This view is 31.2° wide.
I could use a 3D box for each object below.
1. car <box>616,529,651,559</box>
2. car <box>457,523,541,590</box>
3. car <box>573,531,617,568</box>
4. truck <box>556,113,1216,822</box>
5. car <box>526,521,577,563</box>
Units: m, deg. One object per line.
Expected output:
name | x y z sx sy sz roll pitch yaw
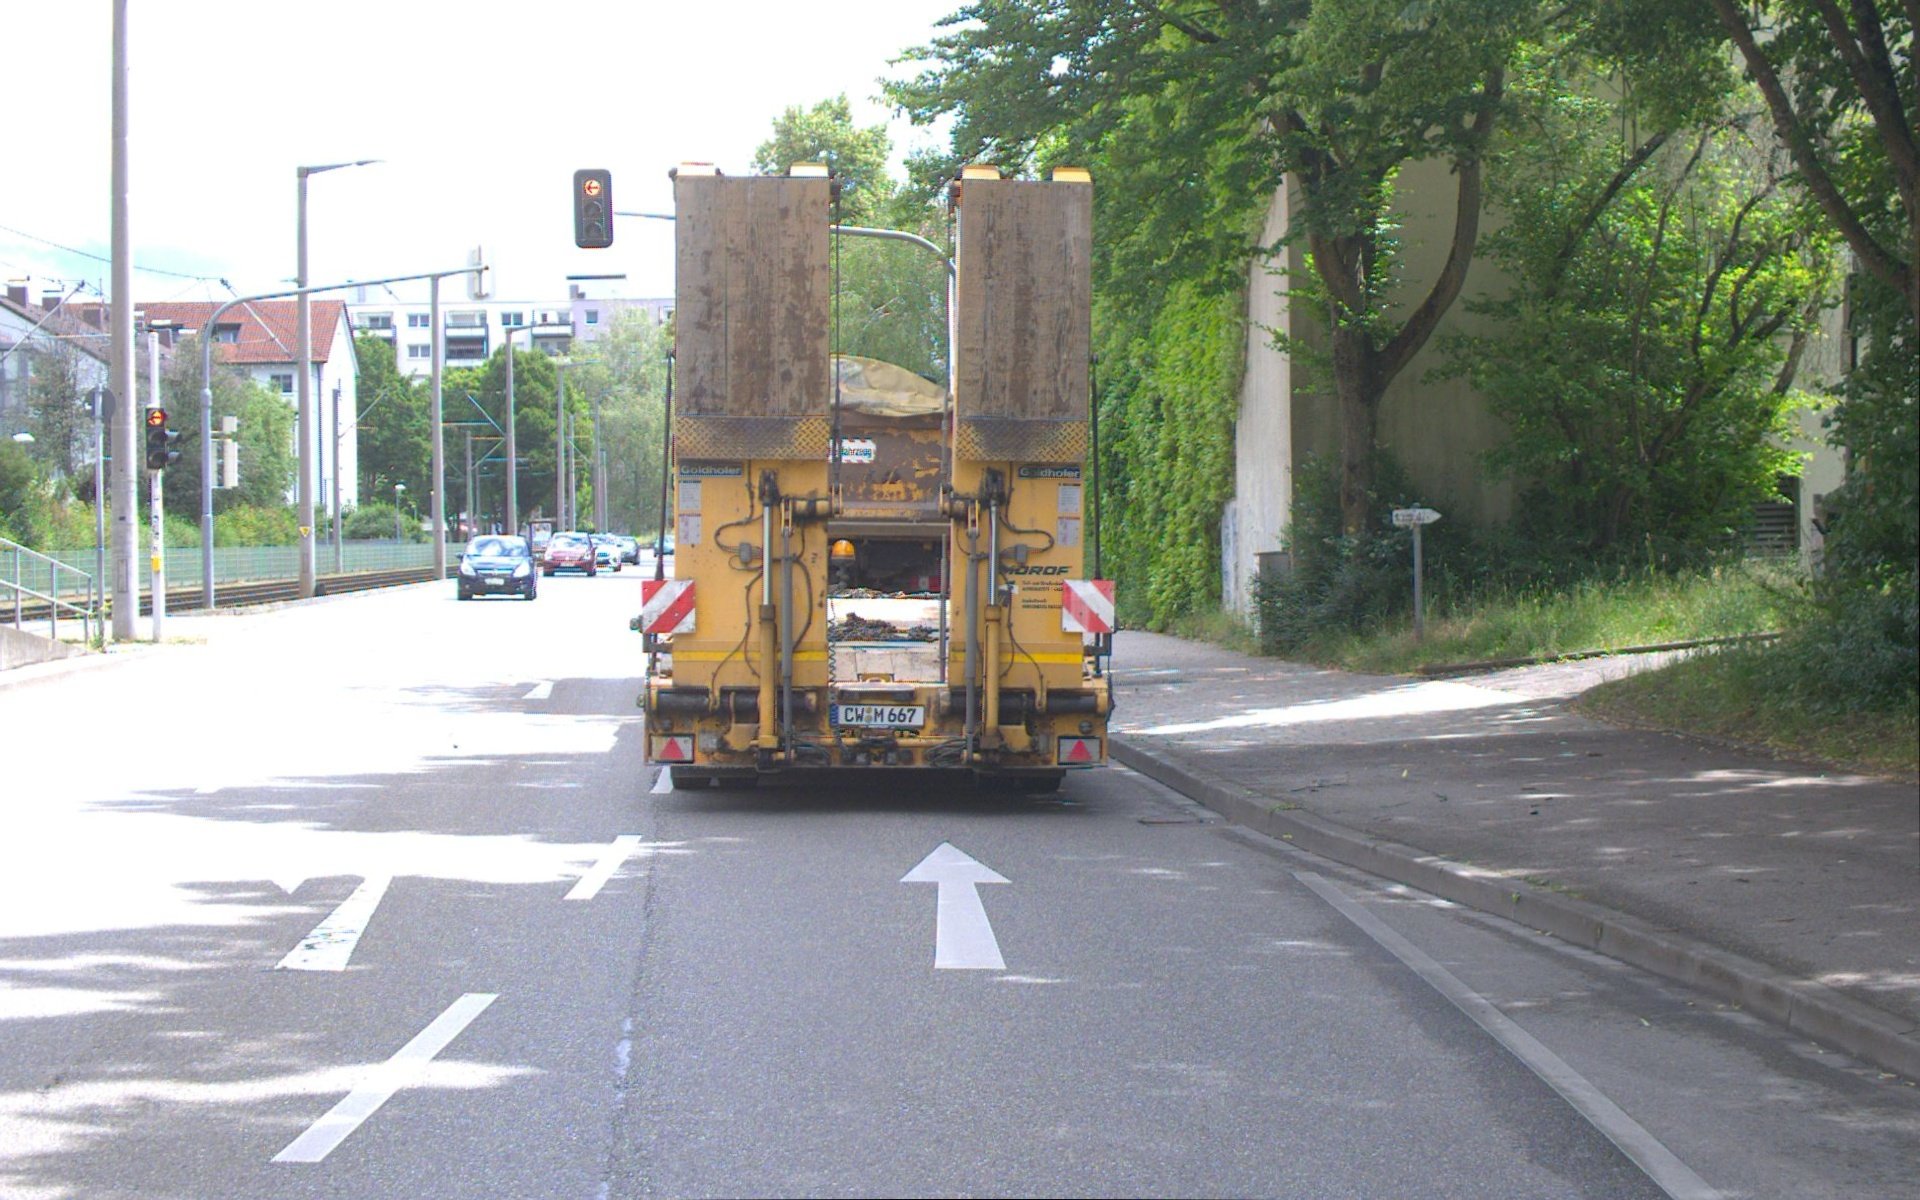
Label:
car | -16.190 -2.770 170.513 1.667 1.448 3.680 1 0 -5
car | -10.438 -0.982 78.020 1.667 1.448 3.680 1 0 -5
car | -14.717 -2.039 138.714 1.667 1.448 3.680 1 0 -5
truck | -1.168 -0.869 25.066 3.401 3.719 13.742 -1 1 -7
car | -14.650 -2.083 123.358 1.667 1.448 3.680 1 0 -5
